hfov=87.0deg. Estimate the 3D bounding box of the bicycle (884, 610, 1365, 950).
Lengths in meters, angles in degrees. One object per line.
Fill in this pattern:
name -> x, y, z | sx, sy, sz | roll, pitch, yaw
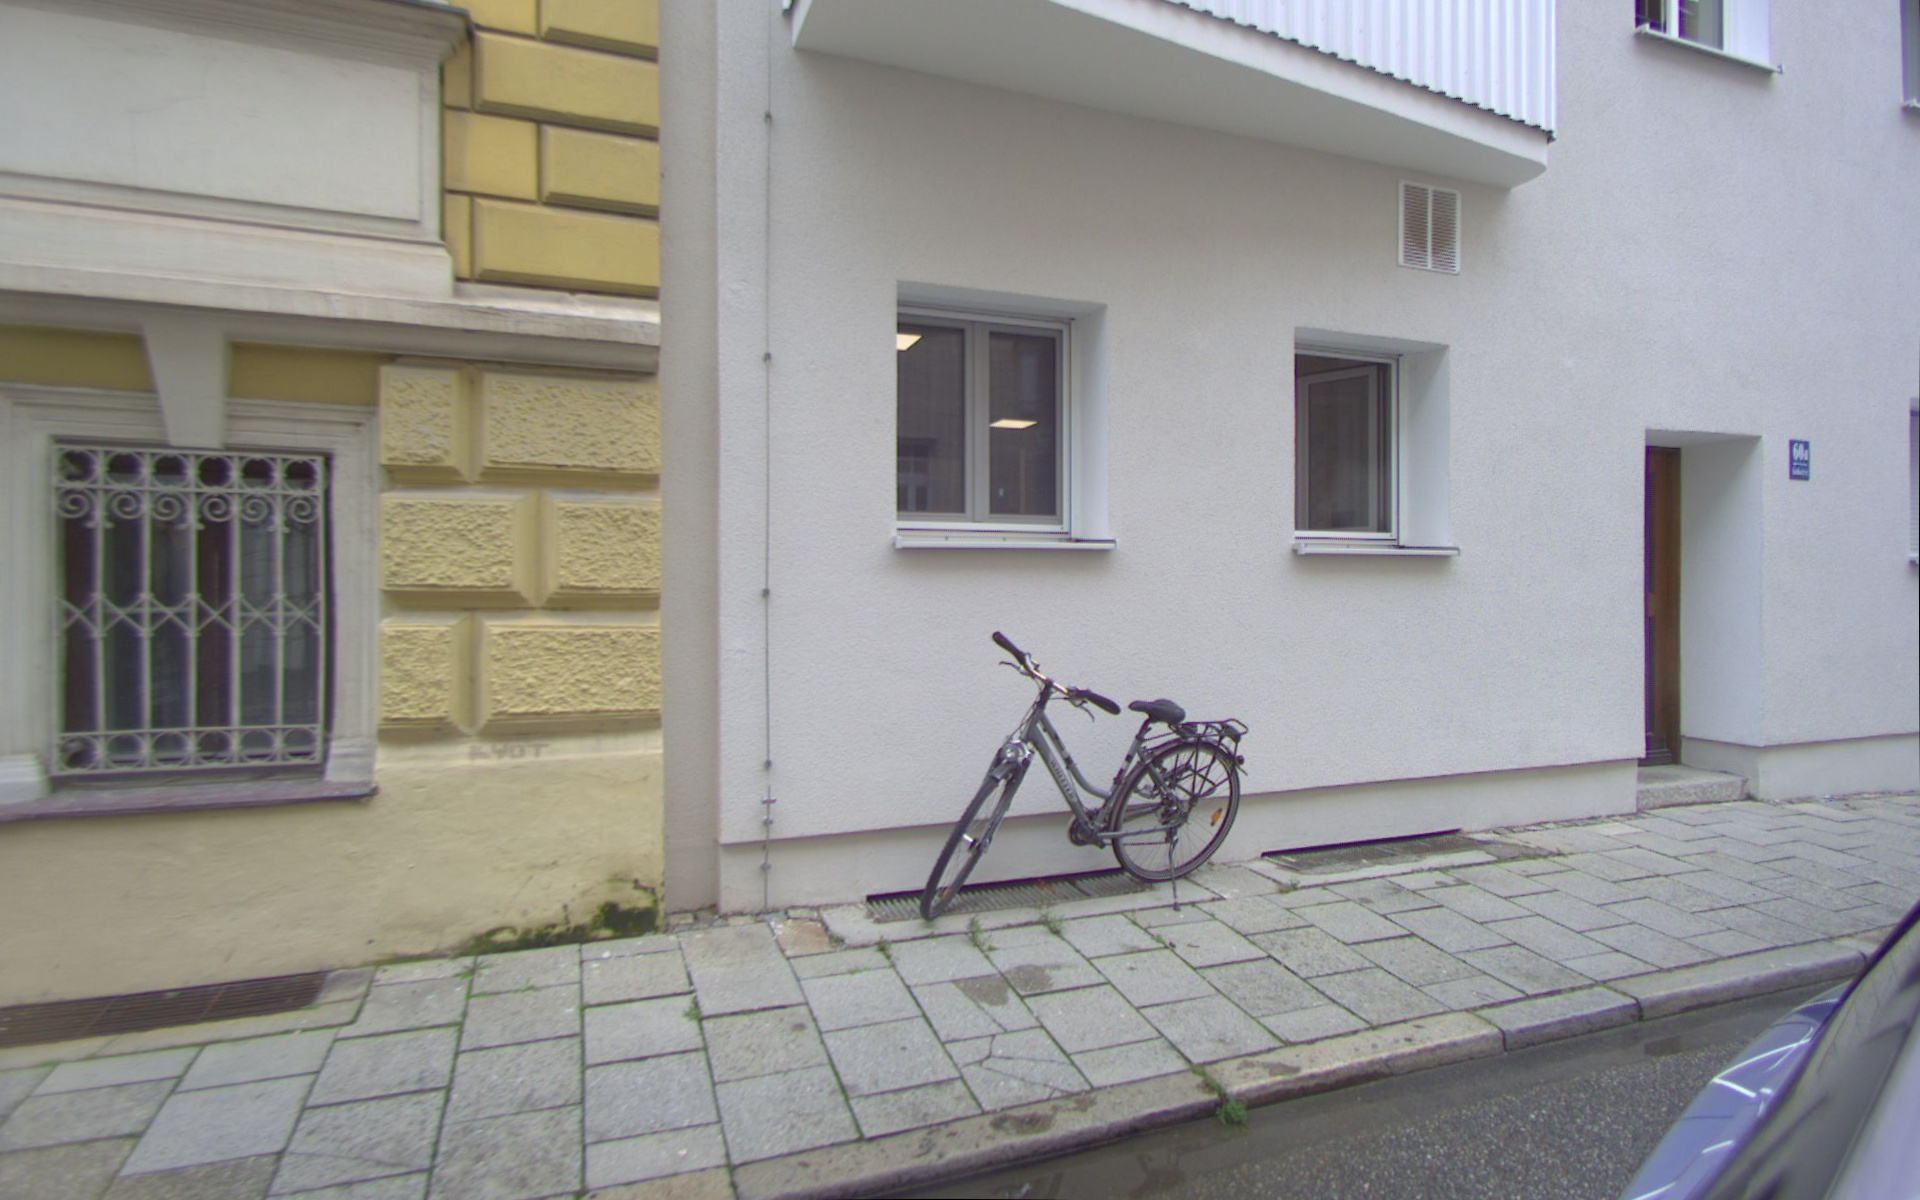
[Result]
bicycle -> 0.683, 0.648, 4.209 | 1.875, 1.167, 0.642 | 0, 2, -20
